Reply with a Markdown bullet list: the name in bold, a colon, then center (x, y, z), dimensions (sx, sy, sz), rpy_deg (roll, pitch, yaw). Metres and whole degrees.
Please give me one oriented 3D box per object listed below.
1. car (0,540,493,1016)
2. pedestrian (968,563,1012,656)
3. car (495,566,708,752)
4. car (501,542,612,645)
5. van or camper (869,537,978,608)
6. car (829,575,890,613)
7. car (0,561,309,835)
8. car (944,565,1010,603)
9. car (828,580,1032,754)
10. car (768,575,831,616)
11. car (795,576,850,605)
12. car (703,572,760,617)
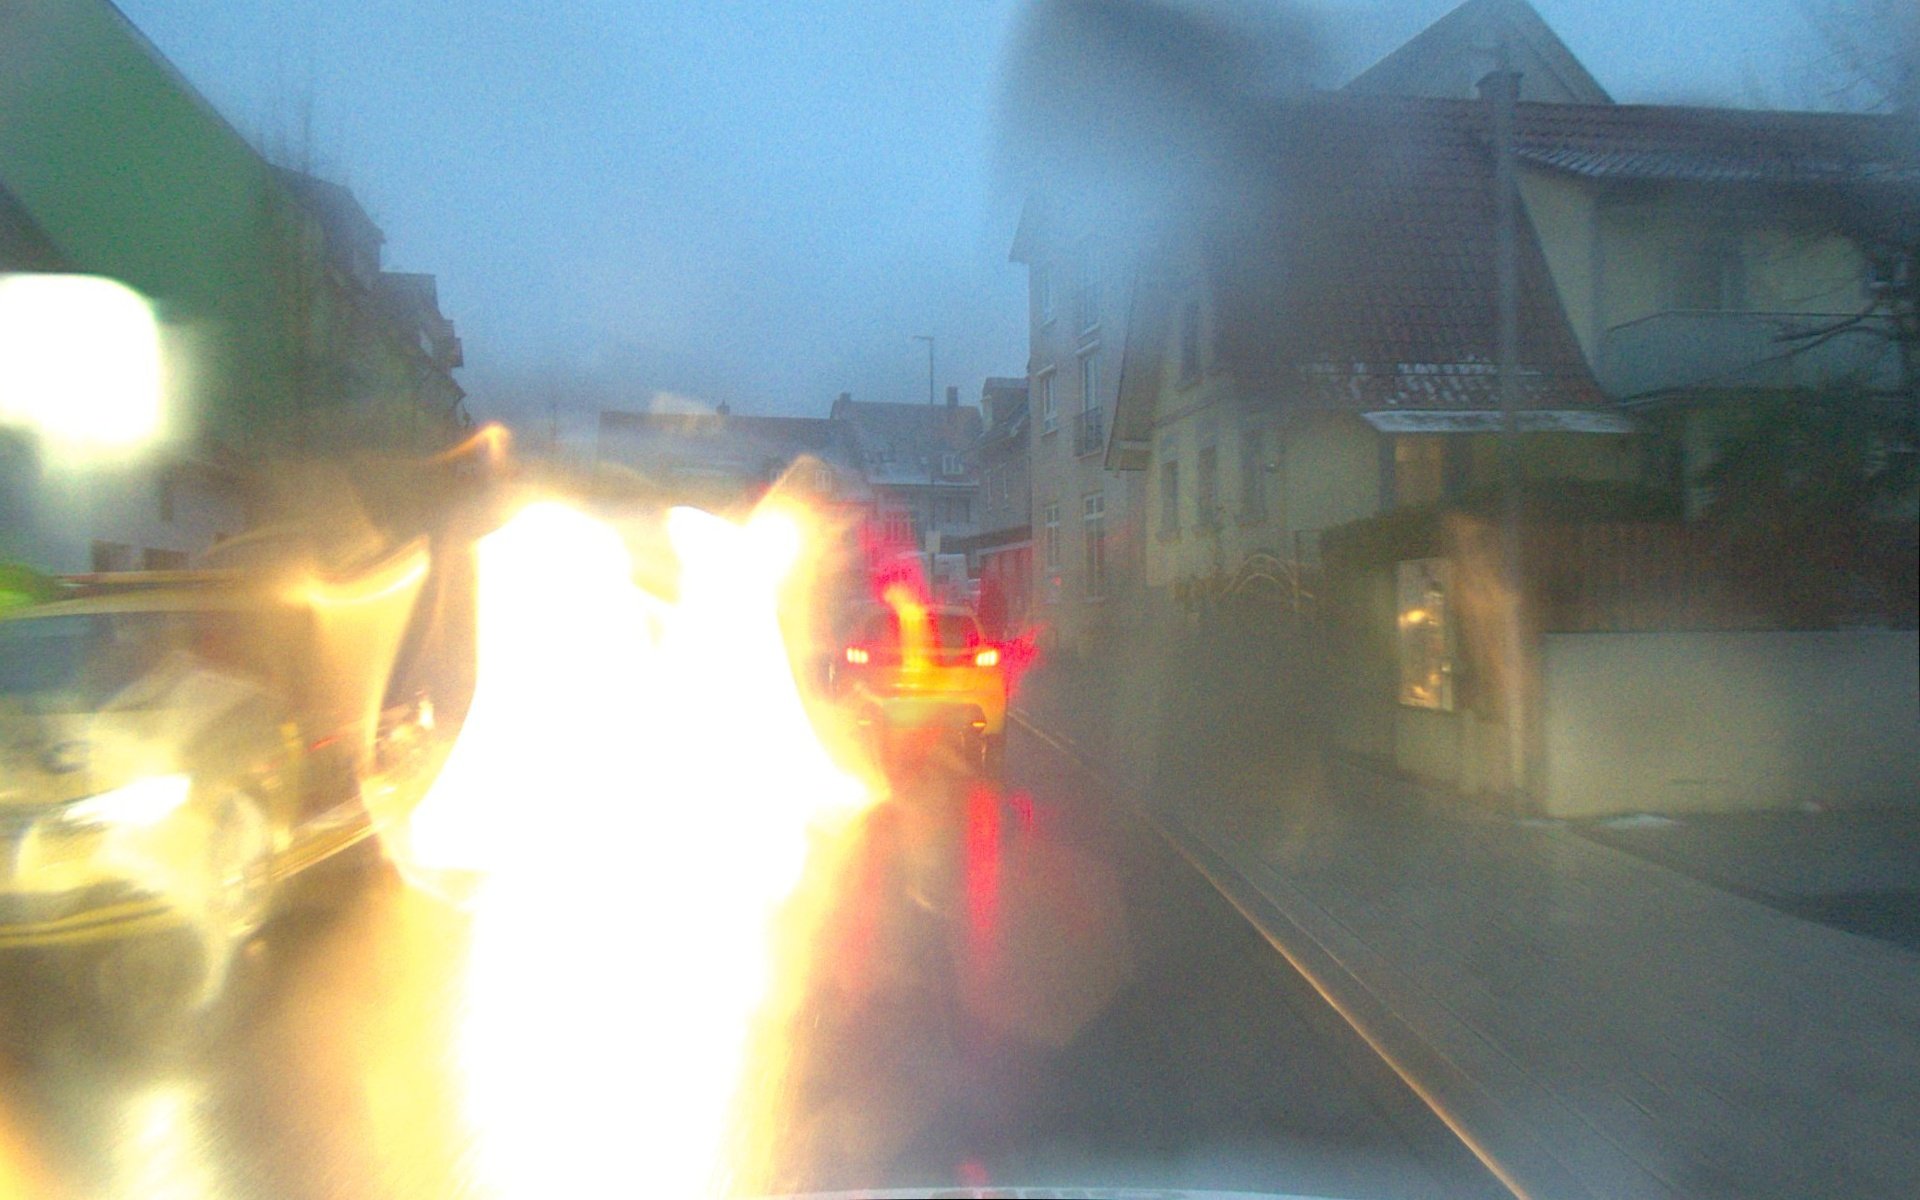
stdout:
- **car**: center (-3.941, 0.590, 8.555), dimensions (1.954, 1.735, 4.963), rpy_deg (2, 2, -5)
- **pedestrian**: center (0.574, 0.168, 32.009), dimensions (0.731, 1.759, 0.872), rpy_deg (-1, 1, -6)
- **car**: center (-3.790, 0.521, 18.192), dimensions (1.915, 1.573, 4.409), rpy_deg (-2, 3, -8)
- **car**: center (-11.020, -0.150, 45.690), dimensions (2.440, 2.605, 6.746), rpy_deg (1, -1, -10)
- **van or camper**: center (-1.842, -1.298, 79.756), dimensions (2.618, 3.100, 6.680), rpy_deg (-4, 2, -25)
- **car**: center (-4.838, -0.280, 78.816), dimensions (1.962, 1.638, 4.154), rpy_deg (-3, 0, -17)
- **car**: center (-6.786, 0.609, 12.809), dimensions (1.843, 1.740, 4.709), rpy_deg (0, 0, -3)
- **car**: center (0.808, -0.757, 79.679), dimensions (1.763, 1.580, 3.976), rpy_deg (-7, 3, -20)
- **car**: center (-0.428, 0.602, 16.979), dimensions (1.779, 1.560, 3.995), rpy_deg (0, 0, -6)
- **car**: center (-7.620, -0.216, 78.302), dimensions (1.964, 1.795, 4.326), rpy_deg (-3, 1, -19)
- **car**: center (-7.553, -0.525, 90.458), dimensions (1.797, 1.487, 4.519), rpy_deg (-3, 2, -21)
- **car**: center (-8.588, -0.220, 61.954), dimensions (1.957, 1.616, 3.990), rpy_deg (0, 0, -10)
